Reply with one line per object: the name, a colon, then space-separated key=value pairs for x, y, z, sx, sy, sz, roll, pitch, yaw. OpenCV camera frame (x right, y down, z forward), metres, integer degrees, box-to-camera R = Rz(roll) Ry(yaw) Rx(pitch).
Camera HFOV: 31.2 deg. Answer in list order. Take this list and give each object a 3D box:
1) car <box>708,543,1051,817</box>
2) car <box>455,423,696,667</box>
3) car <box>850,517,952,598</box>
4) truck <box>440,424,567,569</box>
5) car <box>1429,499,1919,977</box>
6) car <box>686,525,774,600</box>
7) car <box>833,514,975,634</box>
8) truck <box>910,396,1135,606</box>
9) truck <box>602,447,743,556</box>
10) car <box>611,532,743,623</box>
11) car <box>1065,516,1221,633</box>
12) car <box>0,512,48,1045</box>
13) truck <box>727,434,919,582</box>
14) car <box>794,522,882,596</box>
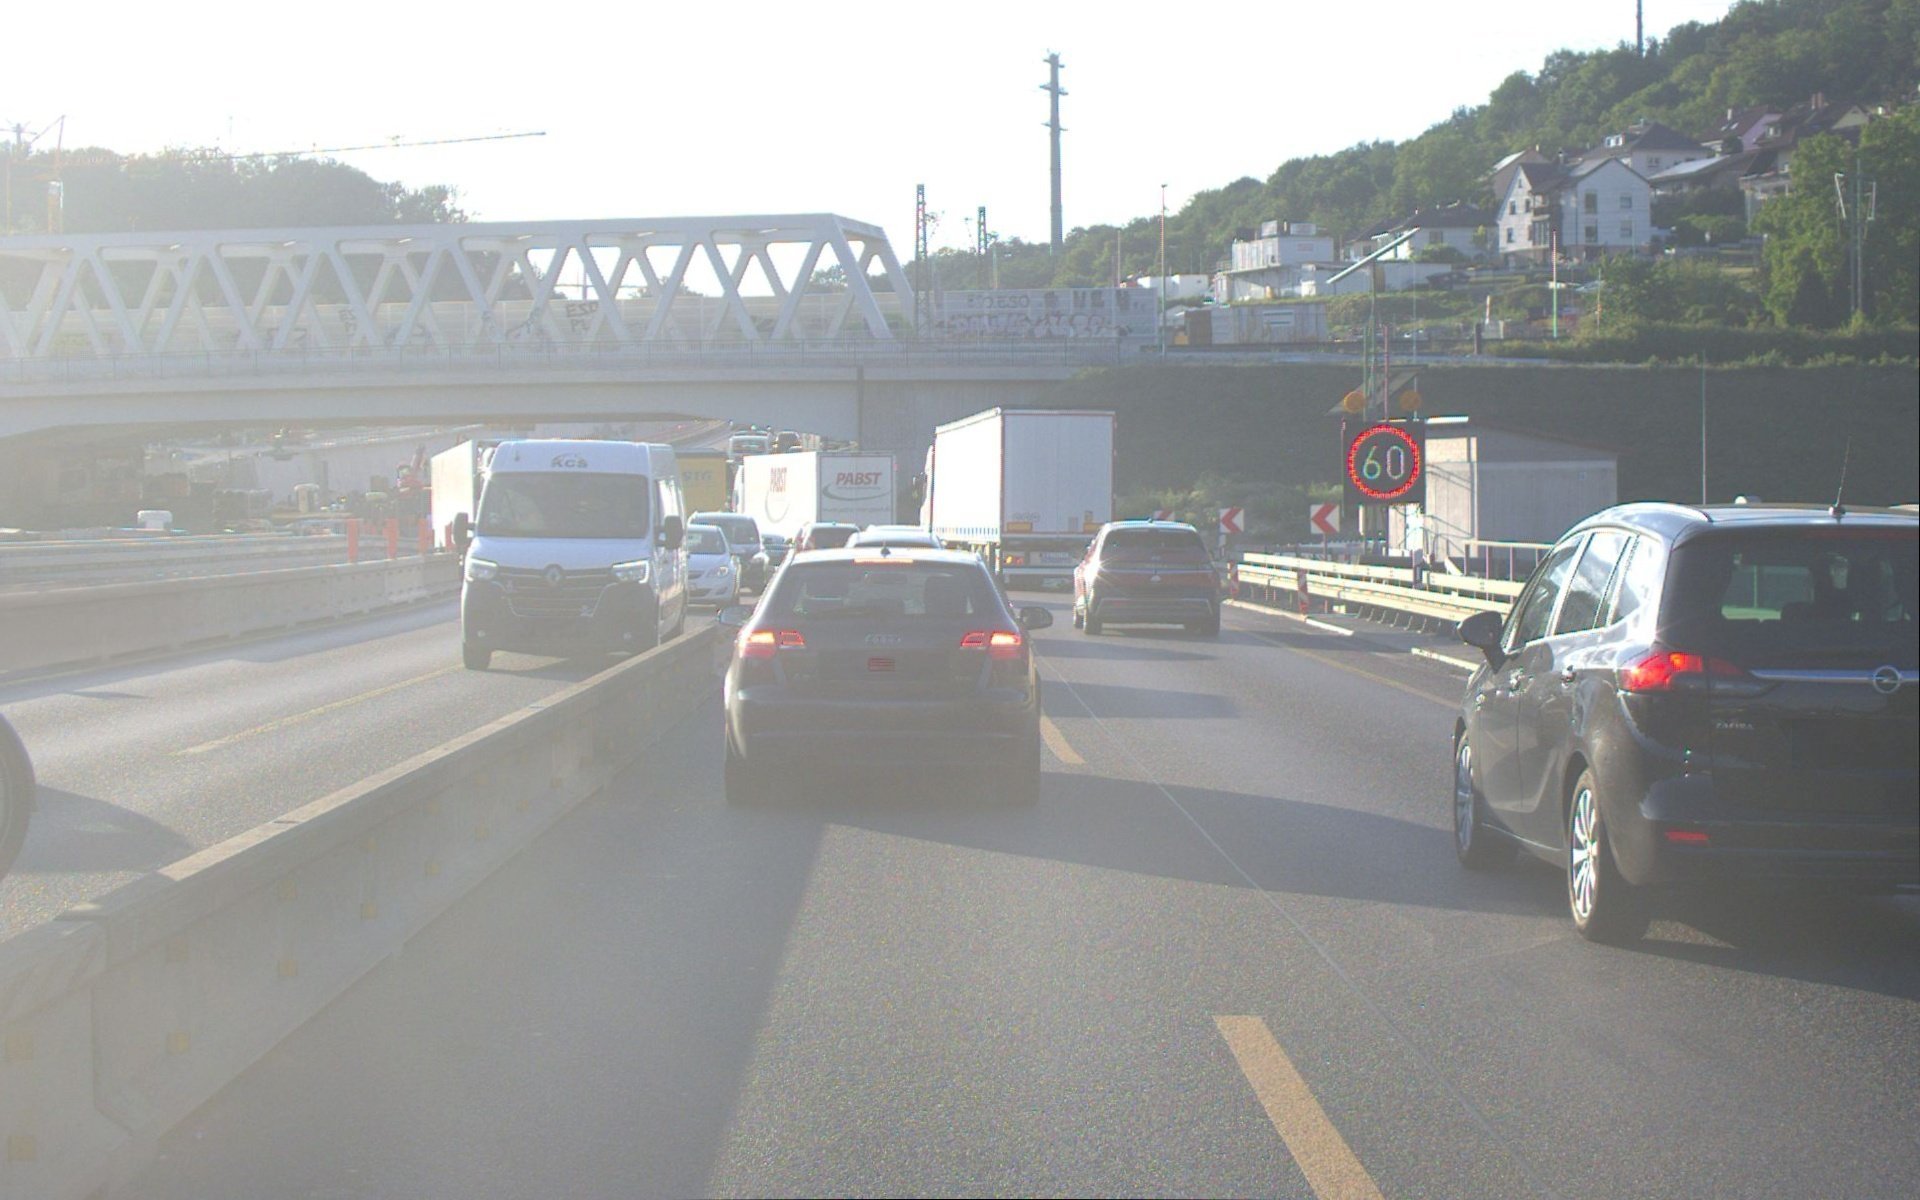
car: x=-0.476 y=0.387 z=19.994 sx=1.770 sy=1.385 sz=4.001 roll=1 pitch=1 yaw=-2
car: x=-4.164 y=-0.625 z=38.211 sx=2.073 sy=2.449 sz=6.267 roll=1 pitch=1 yaw=-1
car: x=-1.178 y=-0.842 z=66.929 sx=1.765 sy=1.481 sz=4.001 roll=2 pitch=1 yaw=-3
truck: x=-13.121 y=-2.931 z=98.177 sx=2.930 sy=3.877 sz=10.267 roll=1 pitch=1 yaw=-11
car: x=3.158 y=0.438 z=14.030 sx=1.814 sy=1.626 sz=4.411 roll=1 pitch=1 yaw=-1
car: x=-4.833 y=-0.813 z=72.582 sx=1.792 sy=1.534 sz=4.368 roll=1 pitch=1 yaw=-3
car: x=-0.791 y=-0.376 z=45.841 sx=1.765 sy=1.481 sz=4.001 roll=2 pitch=1 yaw=-2
truck: x=1.253 y=-2.285 z=82.094 sx=3.385 sy=4.483 sz=15.270 roll=1 pitch=1 yaw=-6
truck: x=-12.633 y=-4.366 z=149.604 sx=3.889 sy=4.482 sz=13.853 roll=1 pitch=2 yaw=-14
car: x=-4.830 y=-0.416 z=59.230 sx=1.923 sy=1.492 sz=4.368 roll=1 pitch=1 yaw=0
car: x=2.574 y=-0.391 z=49.210 sx=1.770 sy=1.547 sz=4.001 roll=2 pitch=1 yaw=-3
car: x=-3.688 y=0.543 z=7.431 sx=1.993 sy=1.525 sz=5.782 roll=1 pitch=1 yaw=-1
truck: x=-4.727 y=-3.002 z=113.942 sx=3.889 sy=4.483 sz=15.271 roll=1 pitch=1 yaw=-11
car: x=-3.031 y=-1.032 z=84.661 sx=1.698 sy=1.726 sz=4.001 roll=1 pitch=1 yaw=-8
